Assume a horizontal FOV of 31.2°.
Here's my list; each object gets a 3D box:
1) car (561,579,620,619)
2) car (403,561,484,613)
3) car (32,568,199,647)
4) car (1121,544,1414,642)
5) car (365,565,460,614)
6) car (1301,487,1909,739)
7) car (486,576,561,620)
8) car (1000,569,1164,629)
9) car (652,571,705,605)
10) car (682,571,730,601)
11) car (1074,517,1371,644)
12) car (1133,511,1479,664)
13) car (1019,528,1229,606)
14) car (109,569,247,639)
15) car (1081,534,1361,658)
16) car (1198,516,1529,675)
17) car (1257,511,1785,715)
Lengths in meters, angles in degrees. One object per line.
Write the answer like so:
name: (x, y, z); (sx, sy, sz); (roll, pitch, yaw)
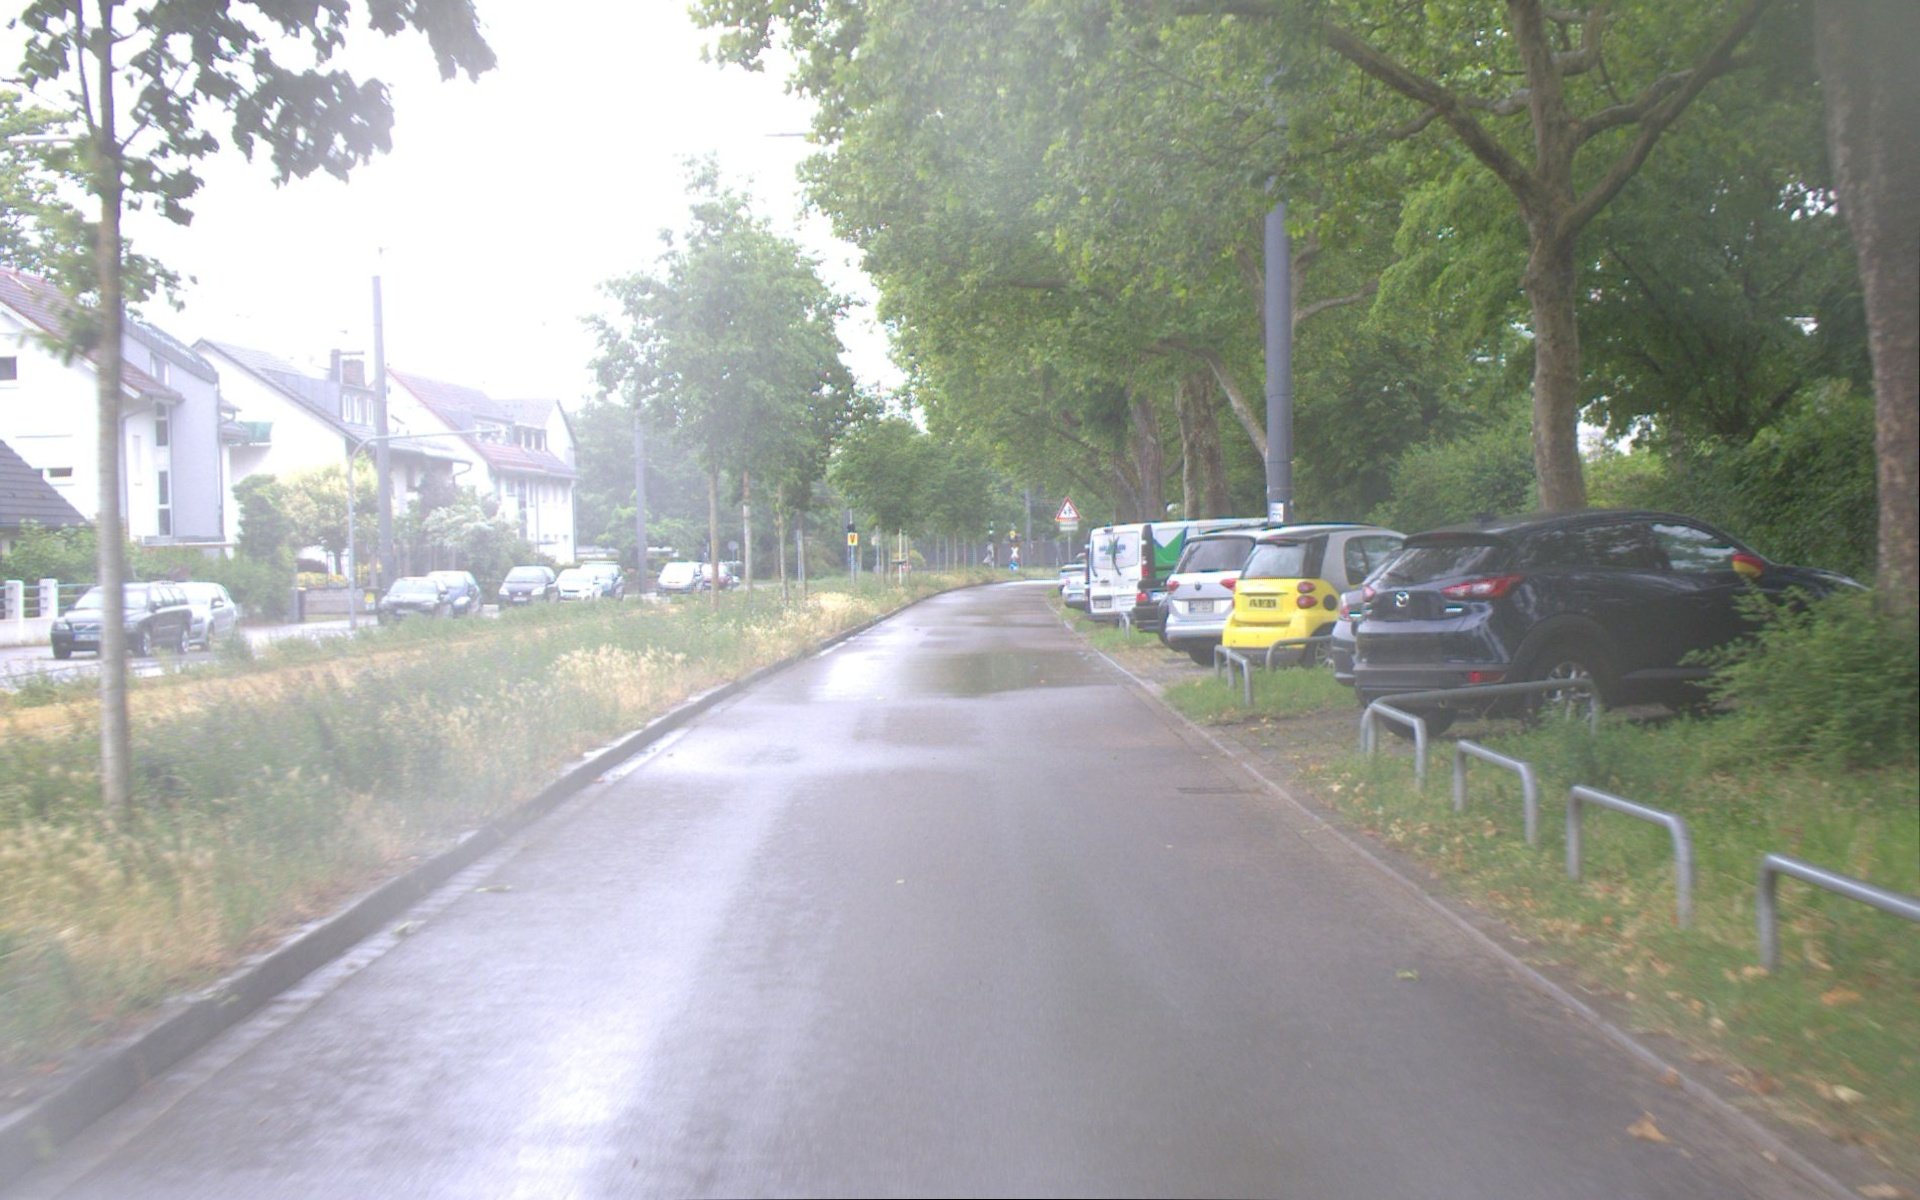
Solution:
car: (-14.552, -0.047, 135.501); (1.796, 1.483, 3.597); (1, 1, 2)
car: (-15.978, -0.418, 106.545); (1.874, 1.545, 3.870); (1, 1, 1)
car: (-16.453, 0.121, 67.204); (1.994, 1.451, 4.531); (1, 1, 2)
car: (4.569, -0.116, 50.745); (4.293, 1.379, 1.740); (-1, 1, -39)
car: (-16.133, -0.322, 101.484); (1.994, 1.346, 4.240); (1, 1, 2)
car: (4.497, 0.055, 23.896); (3.792, 1.527, 1.883); (-3, 1, -30)
car: (-15.686, -0.089, 123.687); (1.994, 1.511, 4.205); (1, 1, 2)
car: (3.743, -0.037, 105.108); (4.760, 1.662, 1.994); (-2, 1, -35)
car: (-13.587, -0.573, 166.198); (1.994, 1.575, 4.516); (1, 1, 2)
car: (-13.294, -0.732, 180.018); (1.994, 1.483, 4.205); (1, 1, 2)
car: (4.668, -0.366, 60.785); (5.014, 2.007, 2.000); (-3, 2, -34)
car: (4.186, -0.164, 41.315); (4.036, 1.635, 1.654); (-3, 0, -37)
car: (3.855, -0.783, 80.482); (4.546, 1.539, 1.888); (-4, 2, -31)
car: (-16.547, 0.066, 72.925); (1.993, 1.406, 3.971); (1, 1, 0)
car: (3.596, -0.059, 47.184); (3.394, 1.513, 1.849); (-3, 0, -37)
car: (4.119, -0.044, 35.084); (2.895, 1.461, 1.604); (-3, 0, -28)
car: (4.507, 0.090, 27.410); (4.050, 1.413, 1.742); (-3, 0, -36)
